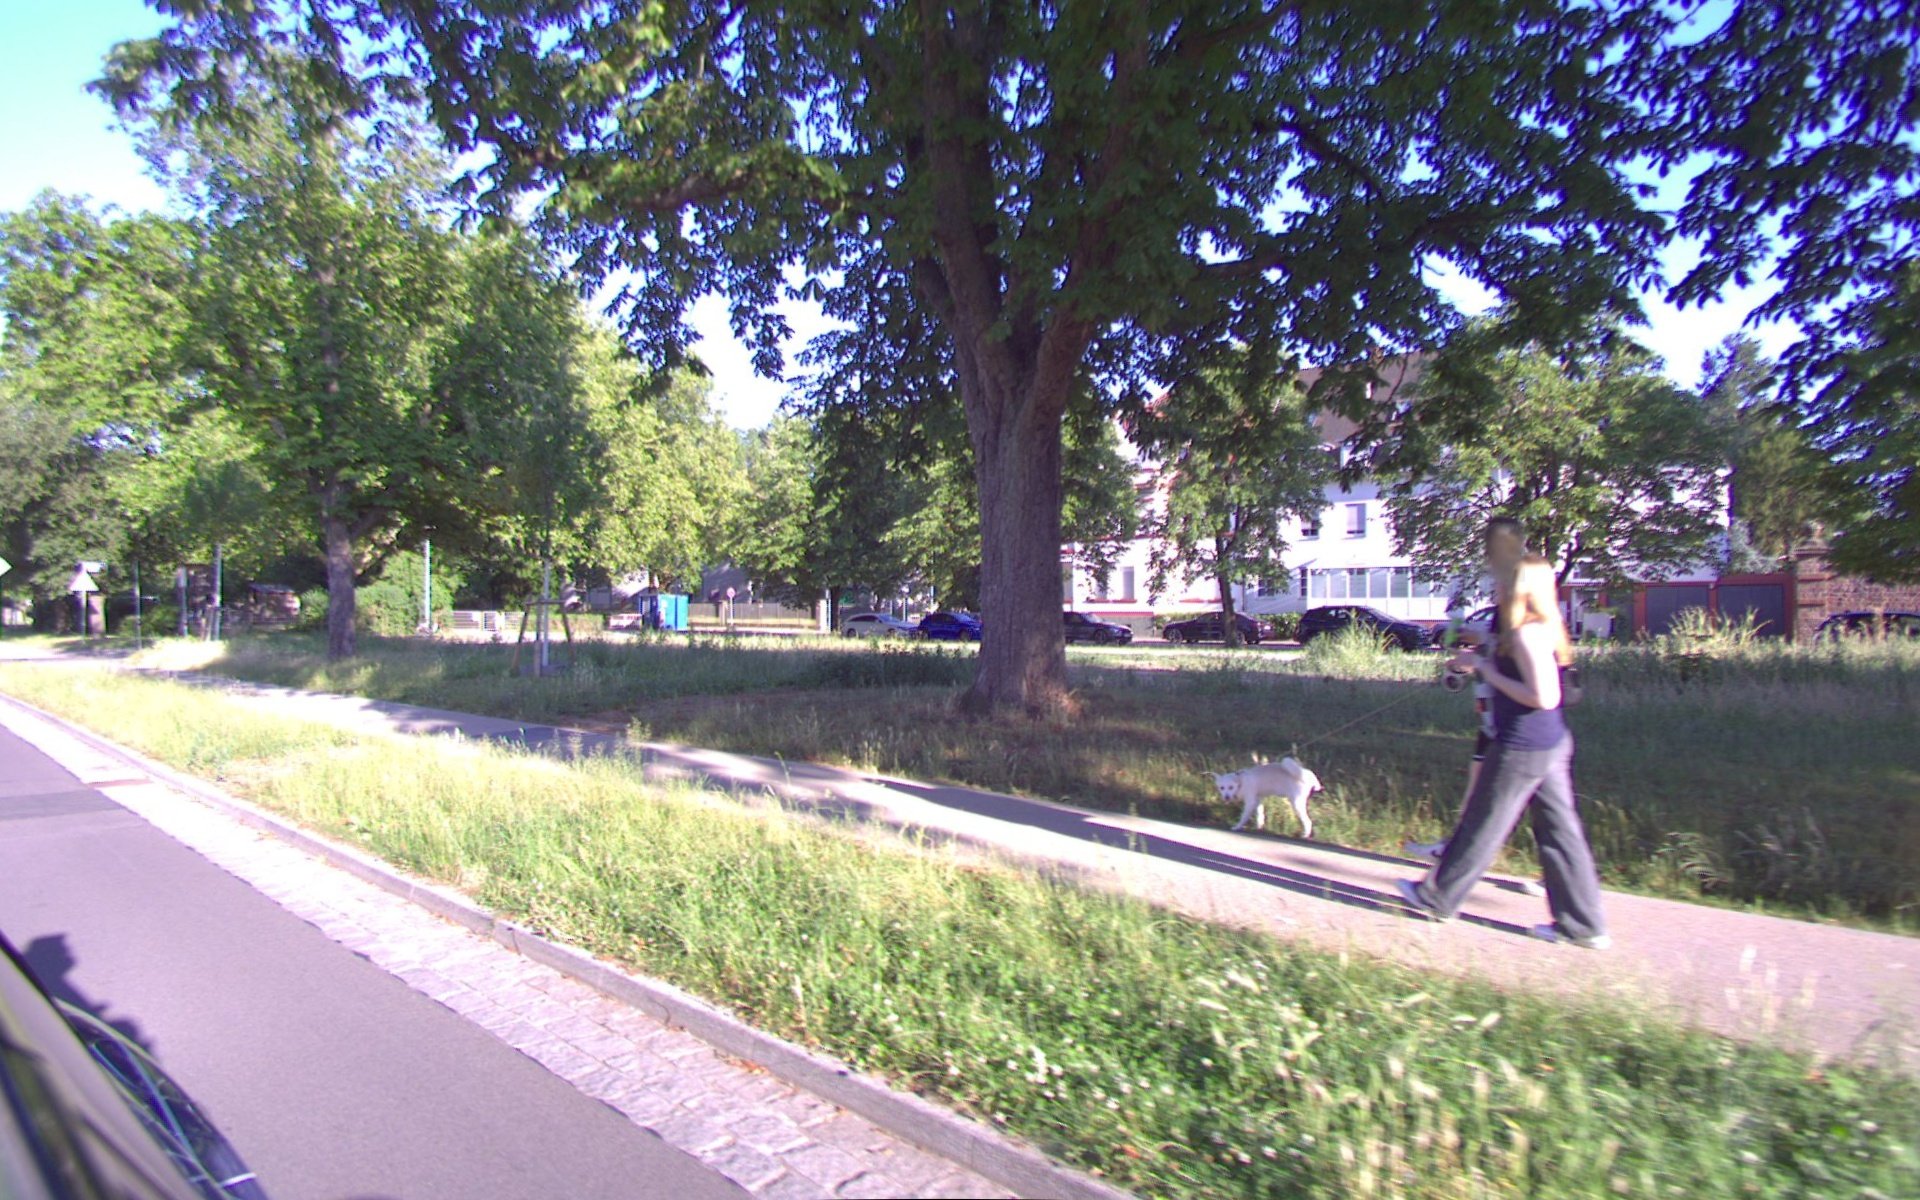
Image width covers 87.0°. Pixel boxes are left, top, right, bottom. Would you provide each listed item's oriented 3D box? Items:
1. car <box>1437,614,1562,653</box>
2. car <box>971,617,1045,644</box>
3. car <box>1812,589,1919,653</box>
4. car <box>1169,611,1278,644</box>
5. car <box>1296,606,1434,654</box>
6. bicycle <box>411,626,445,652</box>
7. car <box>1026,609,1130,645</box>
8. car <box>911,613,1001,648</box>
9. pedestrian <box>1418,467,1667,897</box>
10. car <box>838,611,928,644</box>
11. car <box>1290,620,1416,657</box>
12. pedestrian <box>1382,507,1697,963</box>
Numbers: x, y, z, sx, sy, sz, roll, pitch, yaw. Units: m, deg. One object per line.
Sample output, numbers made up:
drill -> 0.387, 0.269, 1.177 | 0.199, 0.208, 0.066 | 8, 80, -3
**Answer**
car -> 19.932, 1.199, 37.472 | 3.852, 1.342, 1.553 | -1, 0, 43
car -> 2.516, 1.581, 53.761 | 3.852, 1.342, 1.553 | -1, 0, 43
car -> 24.910, 0.536, 26.287 | 4.219, 1.609, 1.675 | -1, -1, 41
car -> 11.612, 1.171, 44.747 | 4.480, 1.342, 1.553 | -1, 0, 43
car -> 14.268, 1.034, 35.803 | 4.219, 1.609, 1.675 | -1, -1, 41
bicycle -> -25.507, 1.850, 48.524 | 0.417, 1.196, 1.579 | 0, 0, 18
car -> 5.065, 1.146, 43.739 | 4.217, 1.487, 1.675 | -1, -1, 40
car -> -0.208, 1.454, 48.766 | 4.216, 1.609, 1.676 | -1, -1, 39
pedestrian -> 2.796, 0.357, 4.883 | 0.886, 1.845, 0.617 | -1, -1, 45
car -> -4.009, 1.396, 52.202 | 4.751, 1.609, 1.676 | -1, -1, 39
car -> 15.792, 1.508, 40.839 | 4.478, 1.342, 1.553 | -1, 0, 43
pedestrian -> 2.411, 0.488, 4.228 | 0.952, 1.627, 0.774 | -1, -1, 45
